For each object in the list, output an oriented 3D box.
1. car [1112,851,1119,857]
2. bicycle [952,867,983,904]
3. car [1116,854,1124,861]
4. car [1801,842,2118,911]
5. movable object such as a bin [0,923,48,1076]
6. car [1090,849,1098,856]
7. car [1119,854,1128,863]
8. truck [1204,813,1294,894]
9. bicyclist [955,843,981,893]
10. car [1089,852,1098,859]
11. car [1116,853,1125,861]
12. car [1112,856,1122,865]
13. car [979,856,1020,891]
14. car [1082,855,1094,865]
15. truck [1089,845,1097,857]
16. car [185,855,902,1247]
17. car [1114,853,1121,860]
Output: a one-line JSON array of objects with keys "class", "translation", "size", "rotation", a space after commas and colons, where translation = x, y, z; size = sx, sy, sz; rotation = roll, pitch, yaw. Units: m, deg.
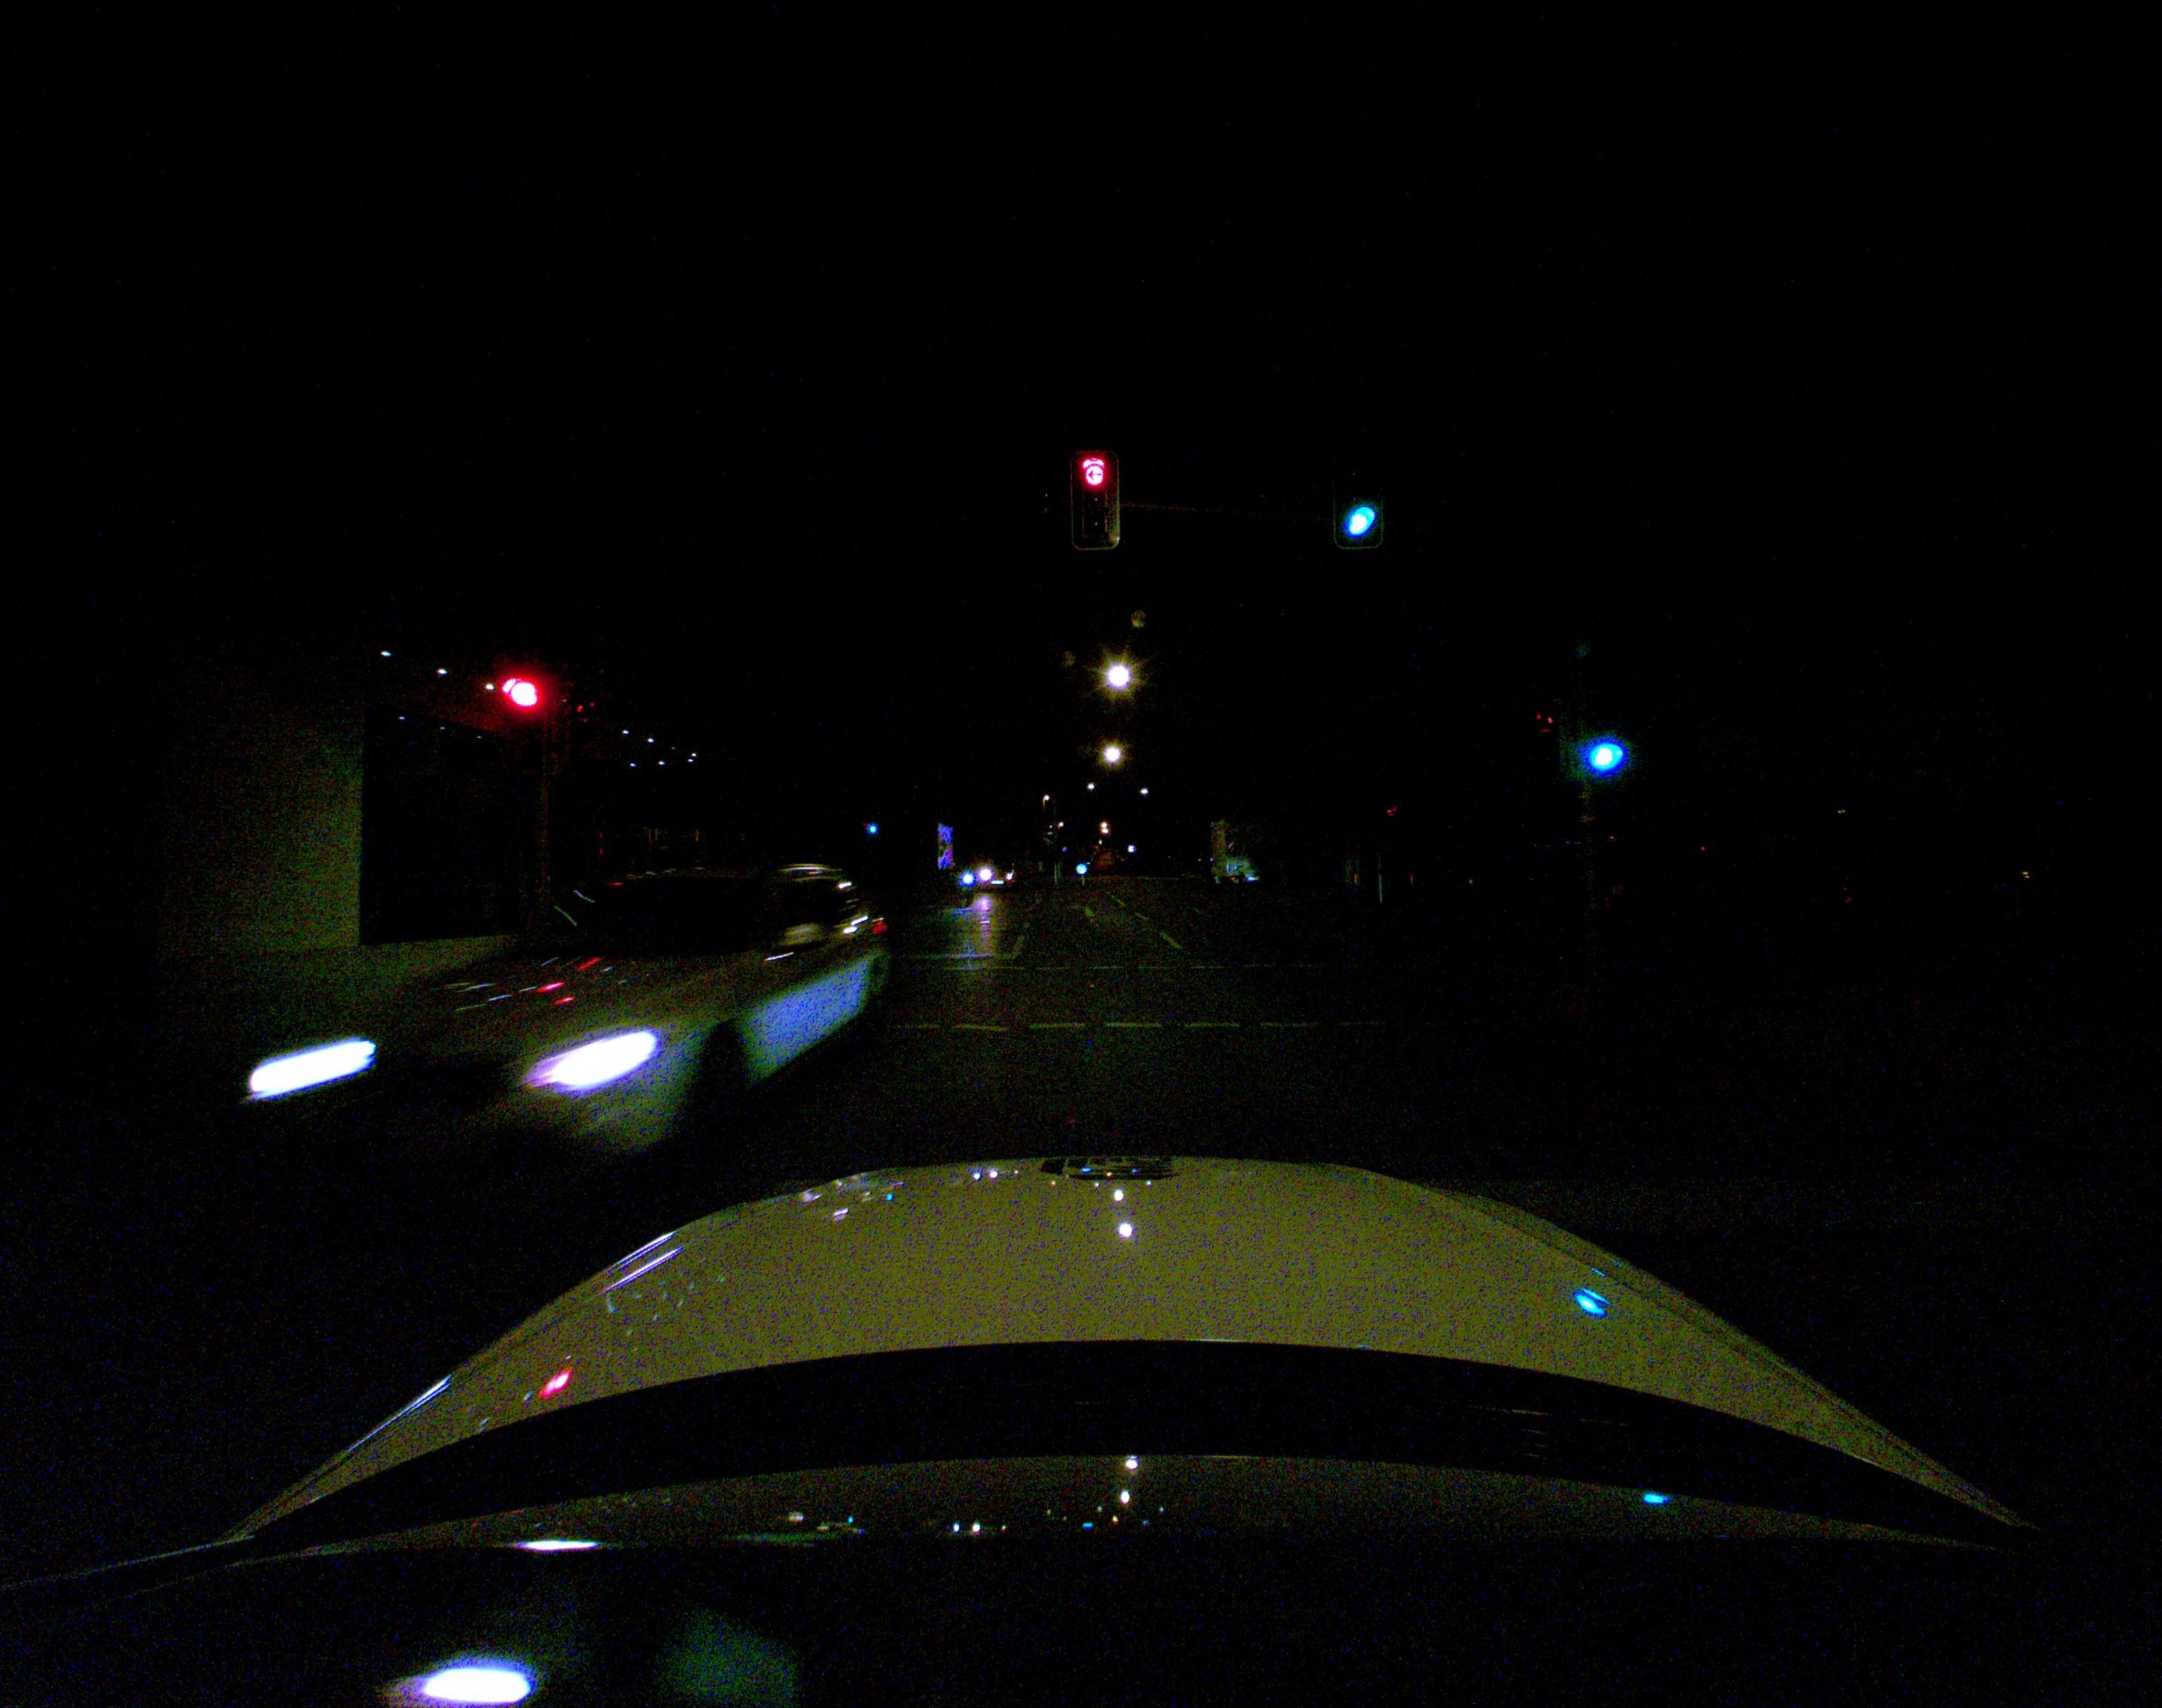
[{"class": "car", "translation": [8.191, 0.031, 191.564], "size": [1.628, 1.452, 3.486], "rotation": [0, 0, 2]}, {"class": "bicycle", "translation": [-3.721, 1.011, 26.796], "size": [0.693, 1.149, 1.951], "rotation": [-1, -1, 2]}, {"class": "car", "translation": [7.613, 0.697, 159.336], "size": [1.628, 1.452, 3.486], "rotation": [0, 0, 2]}, {"class": "car", "translation": [17.326, 0.450, 16.278], "size": [4.107, 1.280, 1.770], "rotation": [-1, -1, 9]}, {"class": "movable object such as a bin", "translation": [-7.924, 1.036, 5.710], "size": [0.633, 1.049, 0.657], "rotation": [-1, -1, 19]}, {"class": "car", "translation": [3.004, -0.342, 187.163], "size": [1.809, 1.491, 4.000], "rotation": [0, 0, 0]}, {"class": "car", "translation": [7.491, 0.812, 143.406], "size": [1.628, 1.452, 3.486], "rotation": [0, 0, 2]}, {"class": "truck", "translation": [6.949, 0.002, 34.566], "size": [2.738, 3.110, 6.262], "rotation": [0, 0, 2]}, {"class": "bicyclist", "translation": [-3.723, 0.459, 26.823], "size": [0.688, 1.637, 0.896], "rotation": [-1, -1, 1]}, {"class": "car", "translation": [2.438, 0.301, 160.760], "size": [1.809, 1.491, 4.000], "rotation": [0, 0, 0]}, {"class": "car", "translation": [7.477, 0.636, 153.151], "size": [1.628, 1.452, 3.486], "rotation": [0, 0, 2]}, {"class": "car", "translation": [6.146, 1.043, 137.889], "size": [1.587, 1.476, 3.655], "rotation": [-1, 0, 2]}, {"class": "car", "translation": [-3.625, 0.846, 36.814], "size": [1.577, 1.501, 3.394], "rotation": [-1, 0, -2]}, {"class": "car", "translation": [1.201, 0.998, 134.635], "size": [1.808, 1.684, 4.002], "rotation": [0, 0, 2]}, {"class": "truck", "translation": [3.147, -0.731, 209.816], "size": [2.079, 2.848, 5.831], "rotation": [0, 0, 0]}, {"class": "car", "translation": [-2.563, 0.780, 5.222], "size": [1.850, 1.534, 4.028], "rotation": [0, 0, 1]}, {"class": "car", "translation": [7.984, 0.511, 178.584], "size": [1.628, 1.452, 3.486], "rotation": [0, 0, 2]}]
